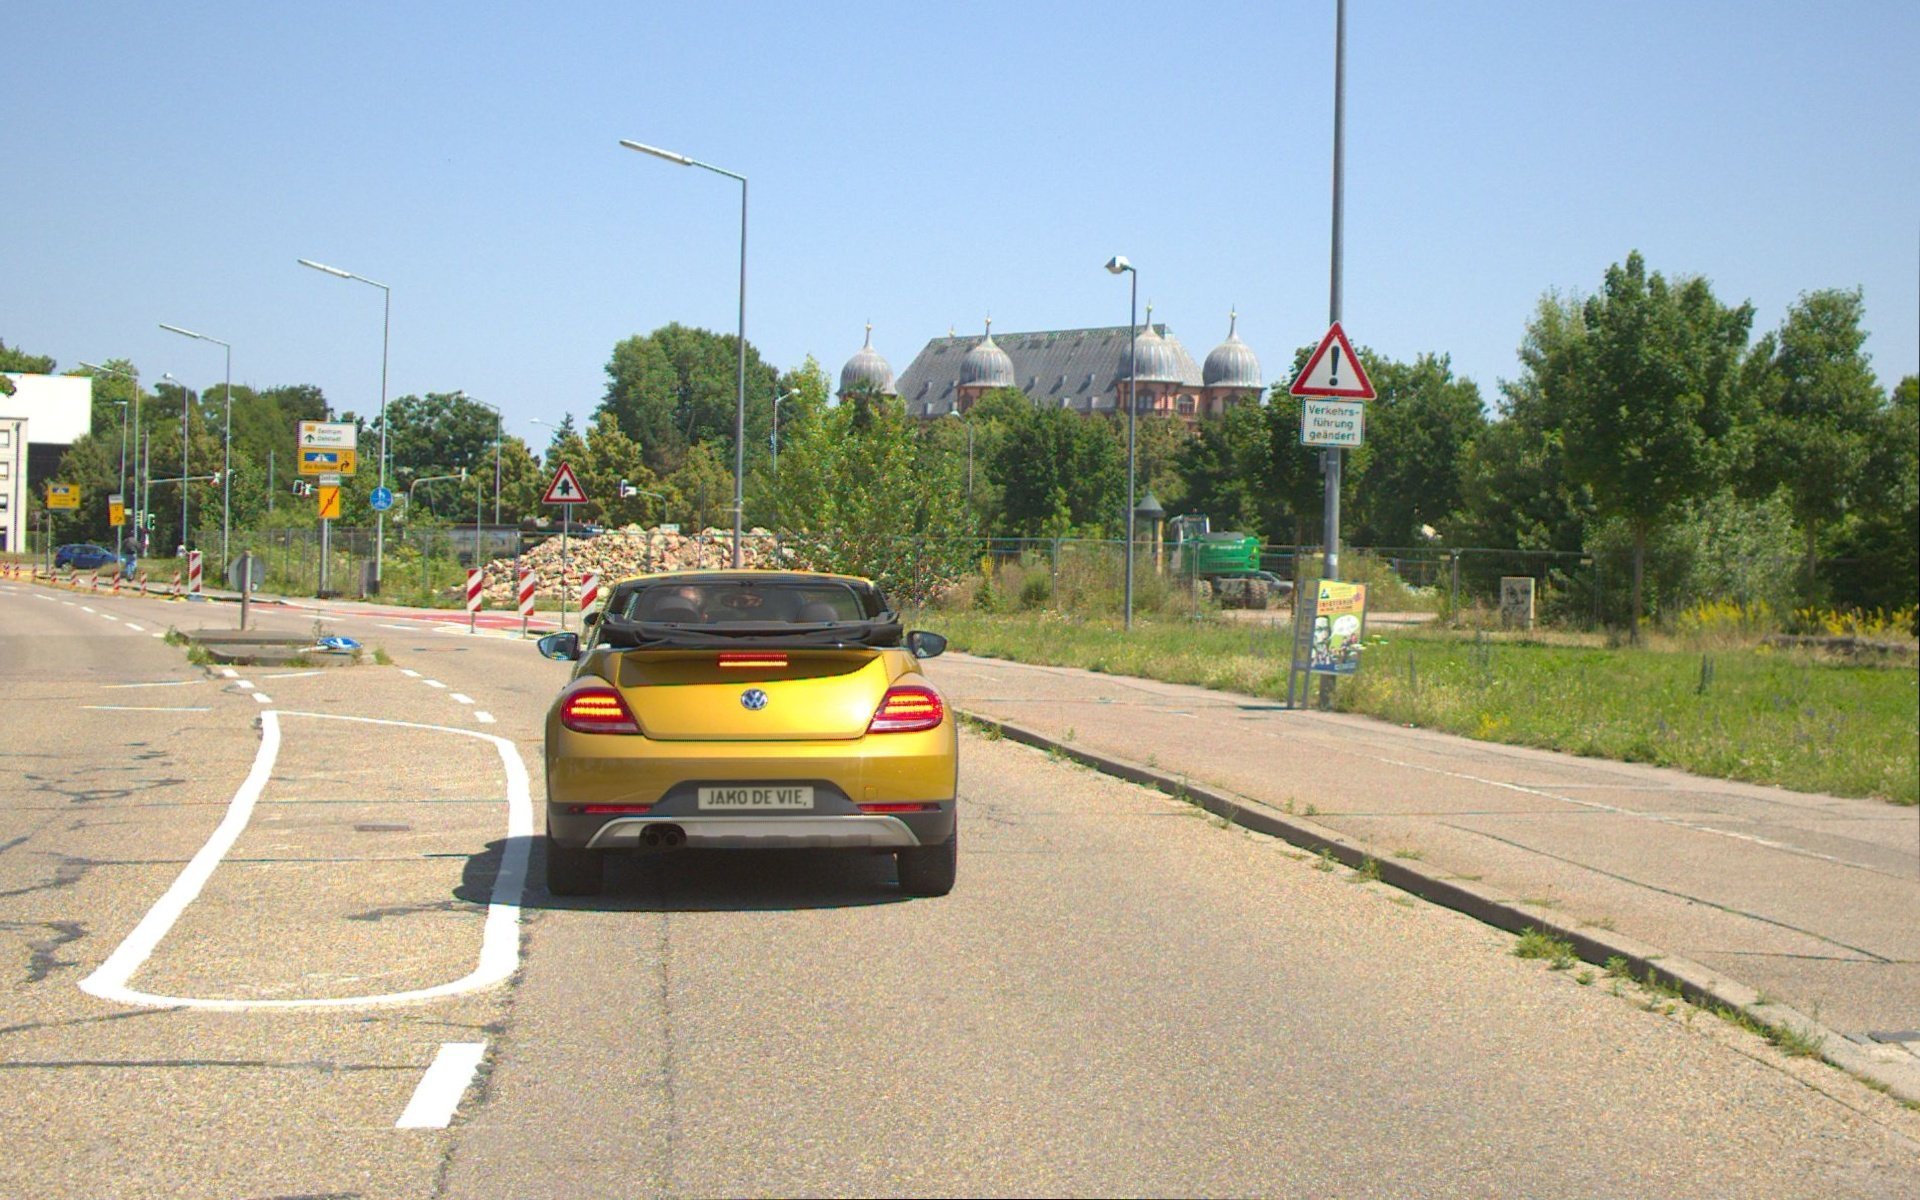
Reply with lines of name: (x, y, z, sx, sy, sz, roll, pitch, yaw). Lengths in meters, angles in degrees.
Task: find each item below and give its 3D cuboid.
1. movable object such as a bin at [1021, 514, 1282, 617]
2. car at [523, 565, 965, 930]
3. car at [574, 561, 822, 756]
movable object such as a bin: (6.382, -1.216, 117.236, 4.938, 3.249, 10.472, 1, 1, -21)
car: (-0.936, 0.589, 16.061, 1.790, 1.432, 3.814, 1, 1, -1)
car: (-2.218, 0.428, 28.183, 1.726, 1.438, 4.001, 1, 1, -8)
